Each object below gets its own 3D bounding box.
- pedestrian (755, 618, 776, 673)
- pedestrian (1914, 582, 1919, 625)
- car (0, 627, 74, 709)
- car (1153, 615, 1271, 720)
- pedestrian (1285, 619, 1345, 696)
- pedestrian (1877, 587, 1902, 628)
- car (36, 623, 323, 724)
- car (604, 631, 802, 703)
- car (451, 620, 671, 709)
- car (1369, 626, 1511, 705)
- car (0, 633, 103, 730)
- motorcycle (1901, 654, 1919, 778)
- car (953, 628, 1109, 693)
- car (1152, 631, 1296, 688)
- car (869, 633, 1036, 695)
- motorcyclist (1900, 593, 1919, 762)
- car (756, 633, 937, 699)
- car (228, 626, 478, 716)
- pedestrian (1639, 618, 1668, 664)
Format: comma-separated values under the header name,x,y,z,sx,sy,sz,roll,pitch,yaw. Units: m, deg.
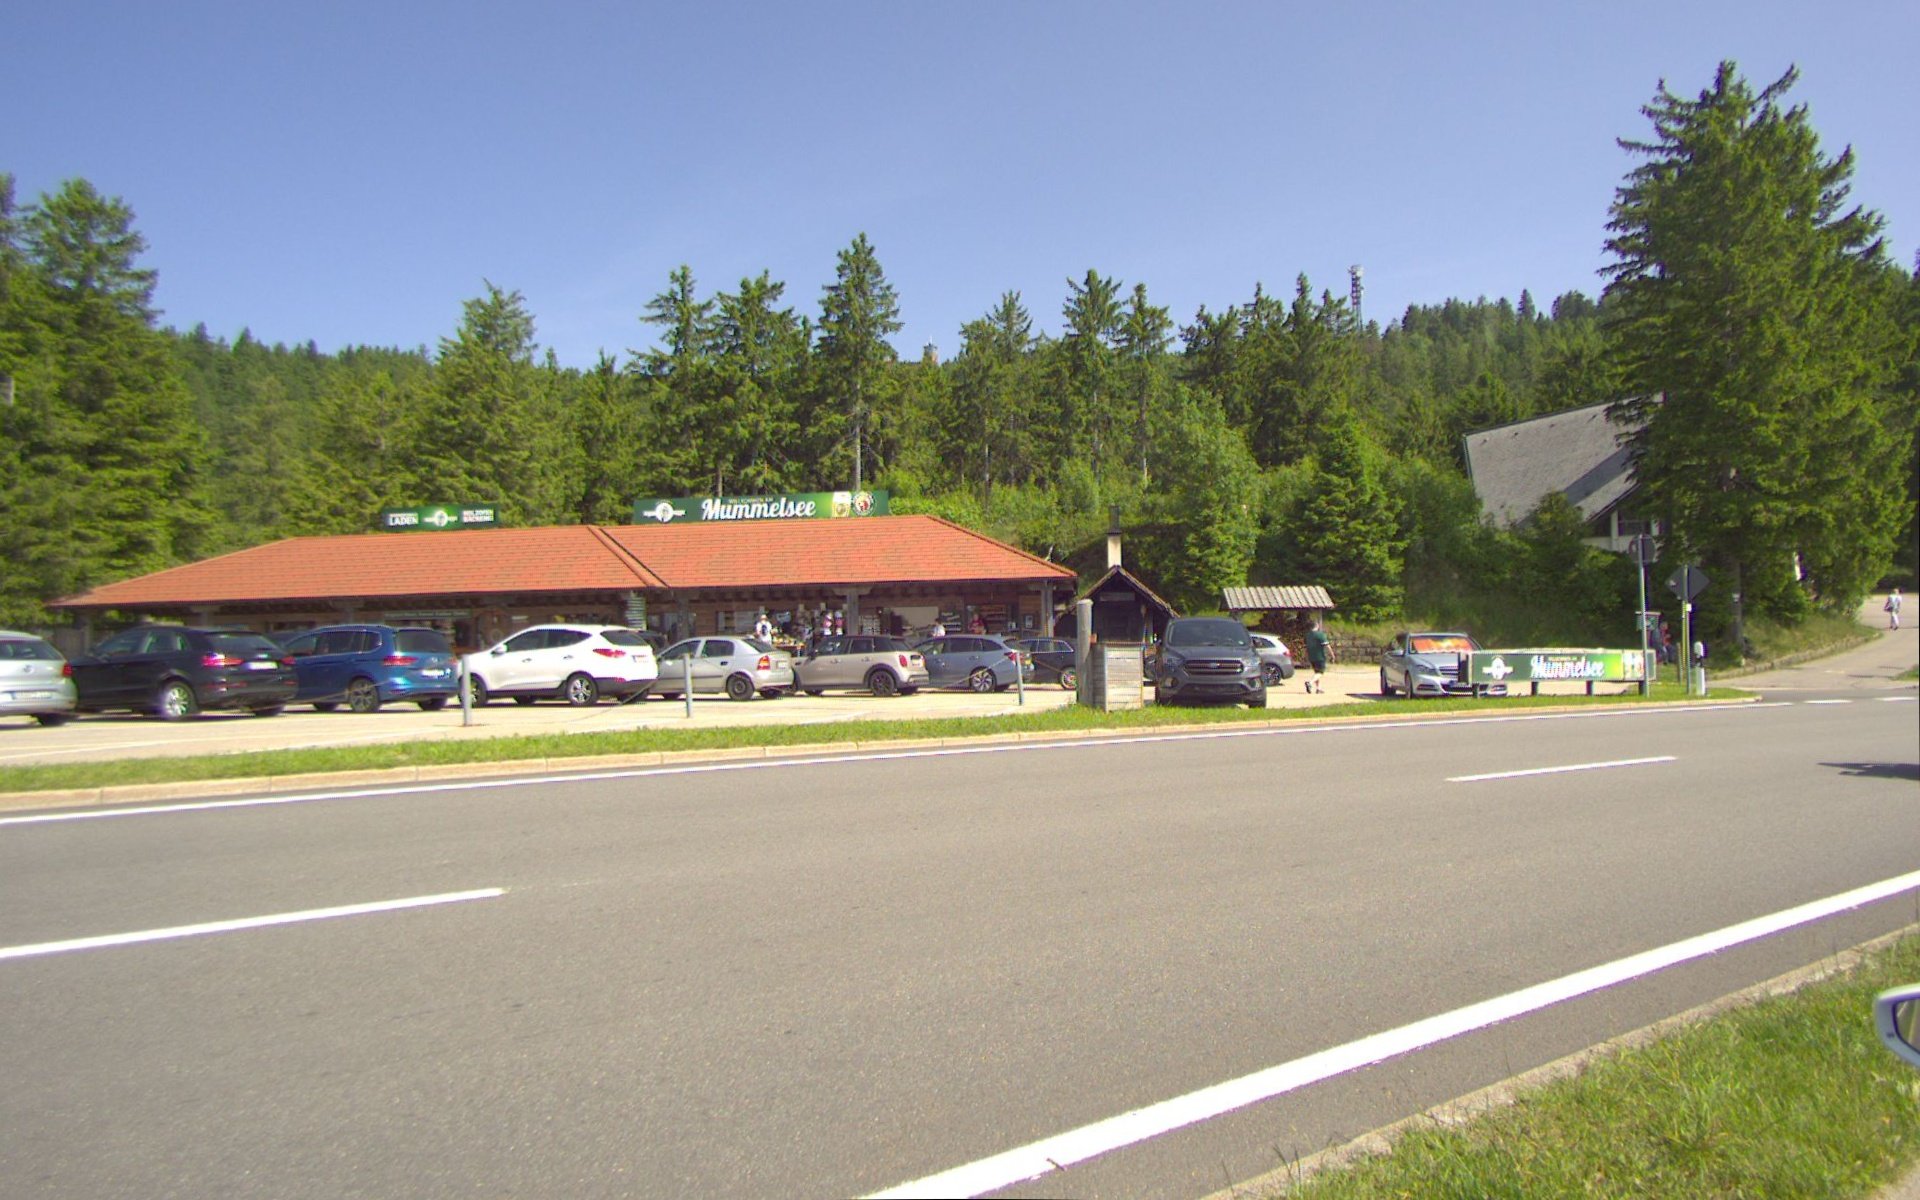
name,x,y,z,sx,sy,sz,roll,pitch,yaw
pedestrian,-6.843,1.587,35.308,0.517,1.898,0.547,0,-1,13
pedestrian,40.780,0.145,42.370,0.637,1.822,0.648,2,-3,-36
car,-20.515,1.403,20.305,3.919,1.594,2.001,-2,-2,13
car,4.431,1.138,18.197,1.753,1.655,4.214,0,-2,10
pedestrian,8.406,1.338,23.788,0.949,1.757,0.892,-1,-2,-30
pedestrian,39.631,0.325,42.811,0.637,1.688,0.648,3,-3,-36
car,-13.540,1.266,17.508,3.920,1.594,2.001,-2,-2,15
car,-5.758,1.513,22.649,3.944,1.487,1.778,-2,-3,14
car,-8.244,1.343,20.871,3.950,1.693,1.778,-2,-3,14
car,9.805,1.307,20.820,1.708,1.460,3.973,-2,-2,12
car,-15.946,1.285,15.771,3.920,1.438,1.909,-2,-2,15
motorcycle,10.457,1.165,10.147,2.260,1.192,0.818,2,-1,-31
car,1.992,1.660,27.776,3.920,1.639,2.001,-2,-2,17
car,7.678,1.723,29.508,3.919,1.514,1.686,-1,0,10
car,-0.176,1.647,25.716,3.920,1.438,1.686,-2,-3,16
motorcyclist,10.365,0.795,10.104,1.278,1.697,1.020,2,-1,-31
car,-2.677,1.580,23.904,3.920,1.438,1.686,-2,-3,16
car,-11.741,1.359,19.522,3.920,1.594,2.001,-2,-2,15
pedestrian,23.718,1.404,34.358,0.546,1.553,0.574,-1,-2,-30
